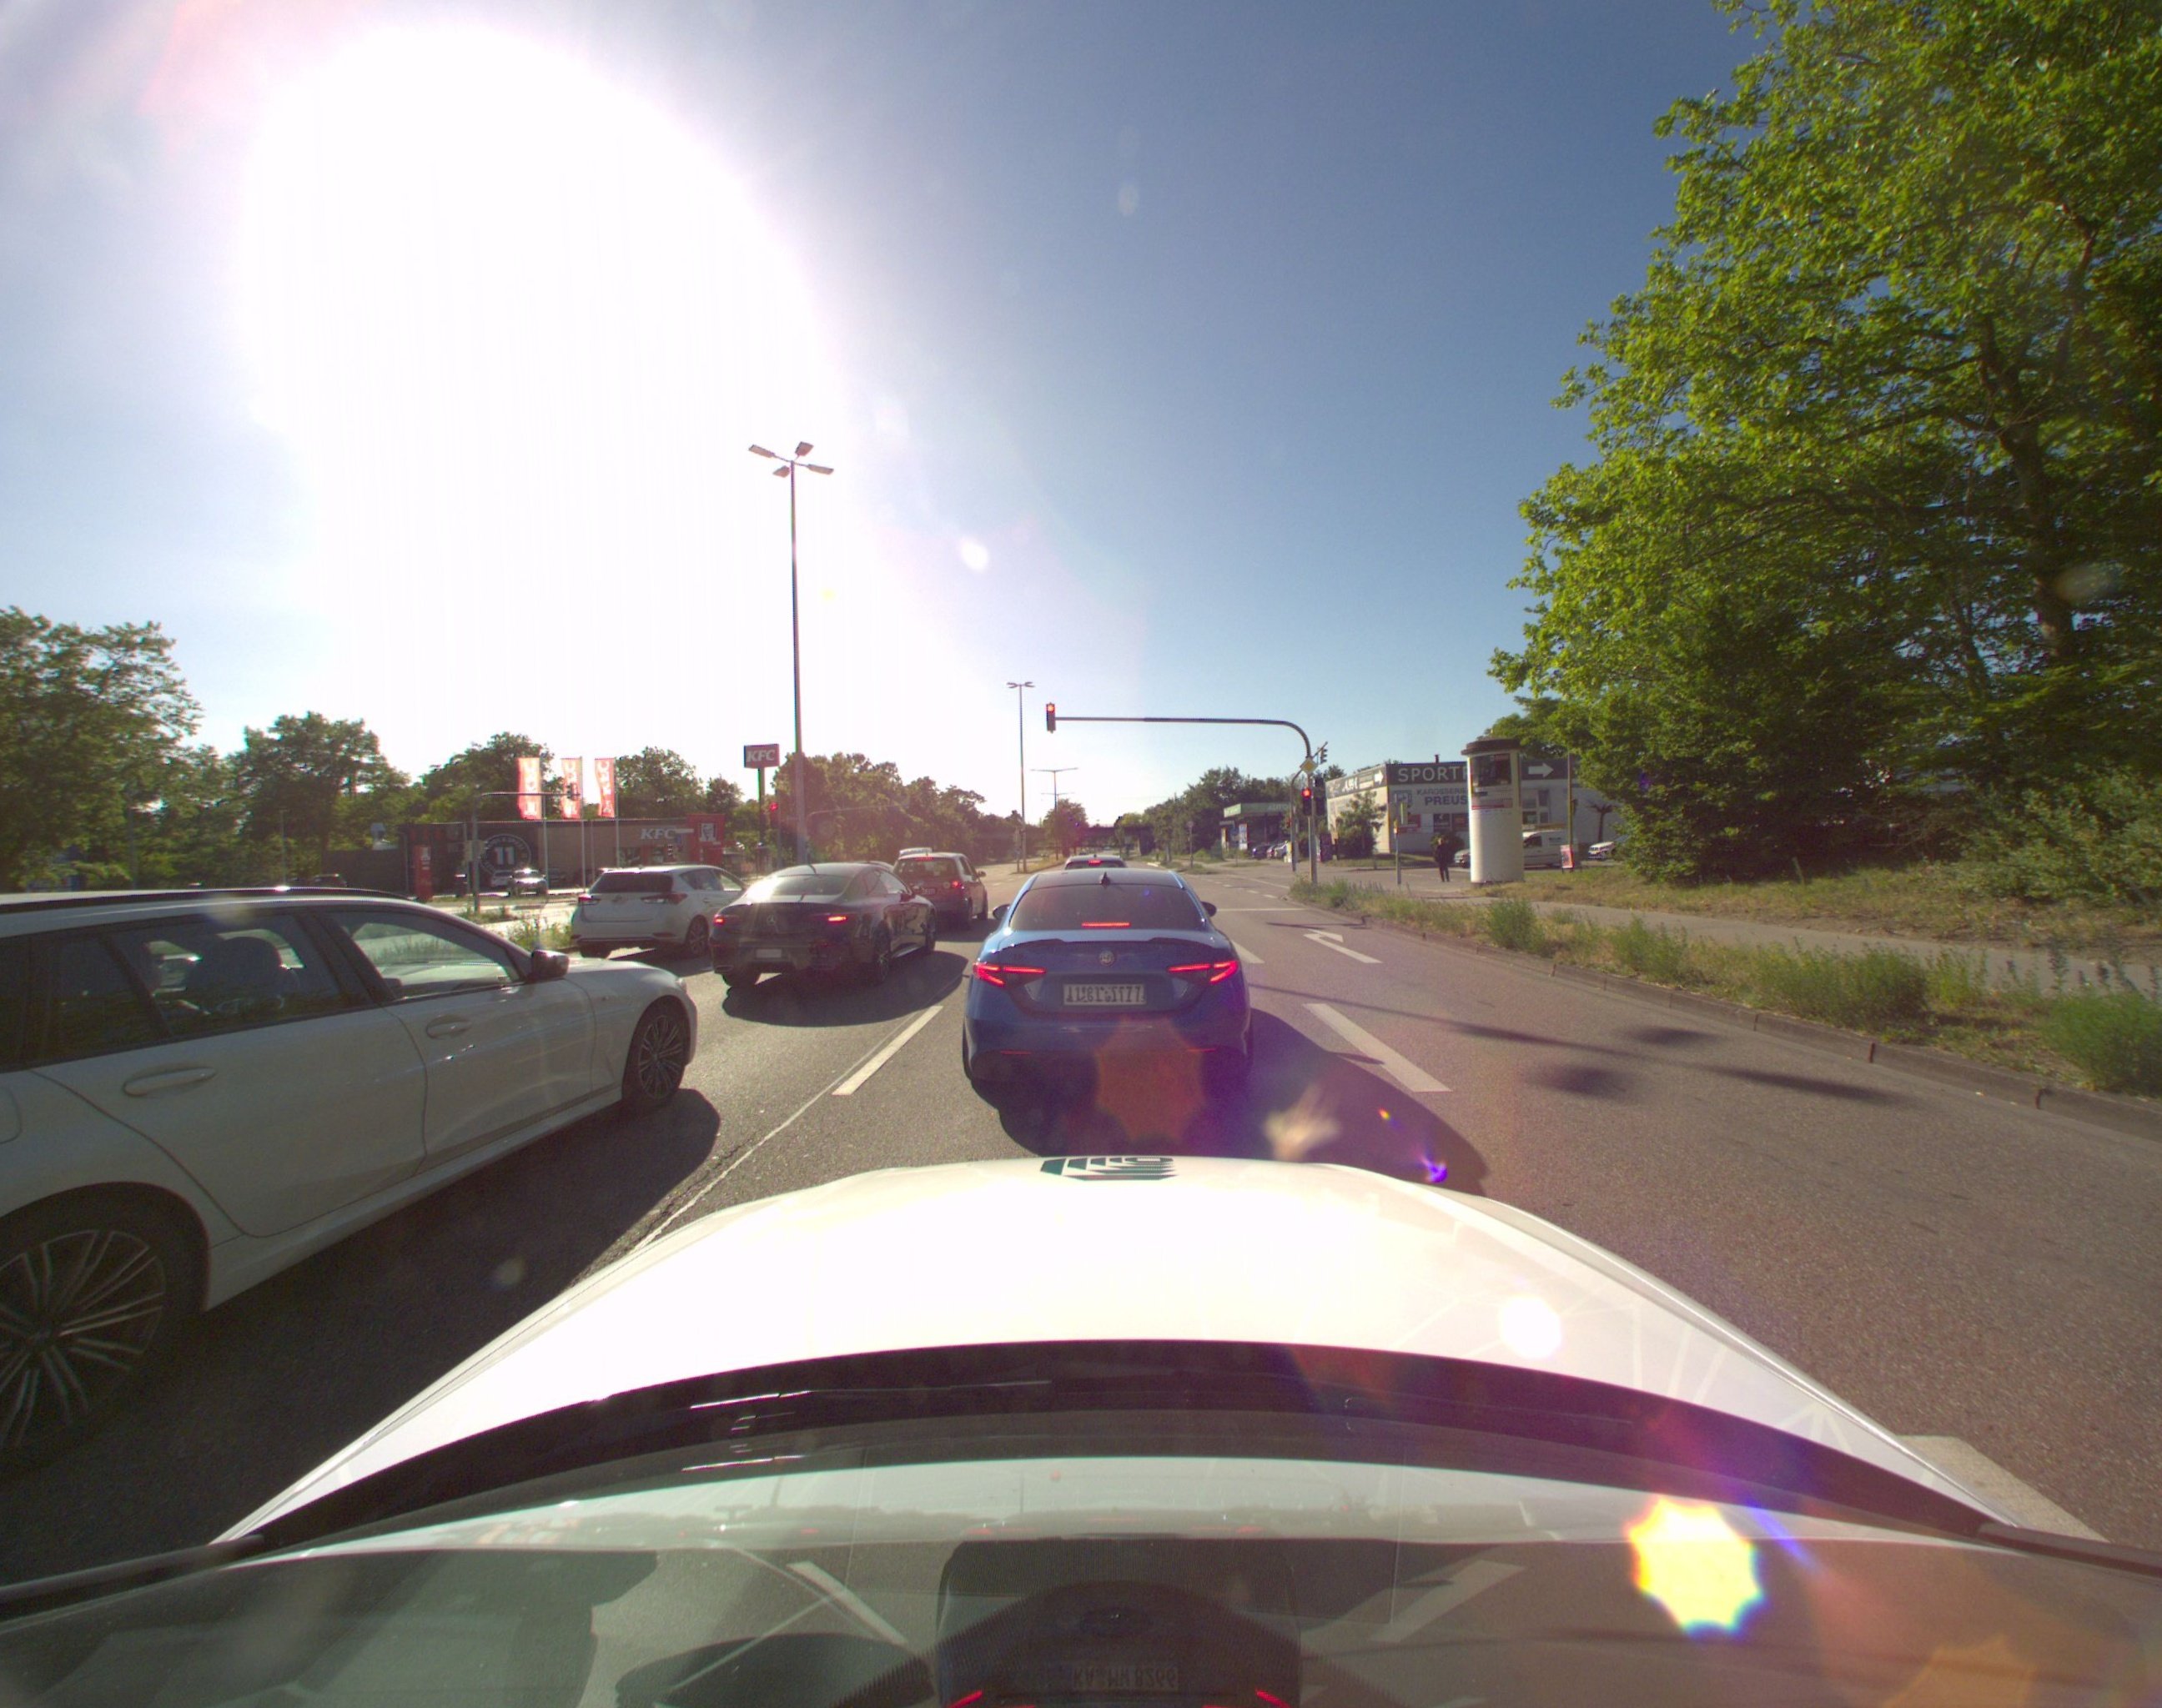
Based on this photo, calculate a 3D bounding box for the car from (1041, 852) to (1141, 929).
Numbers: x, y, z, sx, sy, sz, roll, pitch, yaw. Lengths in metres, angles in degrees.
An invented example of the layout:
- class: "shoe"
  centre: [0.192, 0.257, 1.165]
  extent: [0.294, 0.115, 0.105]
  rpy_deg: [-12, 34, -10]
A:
- class: "car"
  centre: [0.215, 0.699, 17.358]
  extent: [1.844, 1.418, 4.403]
  rpy_deg: [0, -1, 1]

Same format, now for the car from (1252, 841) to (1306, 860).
- class: "car"
  centre: [17.940, -0.337, 73.907]
  extent: [4.470, 1.454, 1.860]
  rpy_deg: [-4, 0, 3]

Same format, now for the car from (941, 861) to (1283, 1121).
- class: "car"
  centre: [0.205, 0.776, 6.715]
  extent: [1.889, 1.418, 4.403]
  rpy_deg: [0, -1, 1]

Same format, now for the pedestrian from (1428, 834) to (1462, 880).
- class: "pedestrian"
  centre: [14.150, 0.123, 31.690]
  extent: [0.922, 1.735, 0.939]
  rpy_deg: [0, -1, 1]

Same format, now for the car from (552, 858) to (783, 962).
- class: "car"
  centre: [-6.764, 0.823, 13.906]
  extent: [1.753, 1.490, 4.197]
  rpy_deg: [0, -1, 1]

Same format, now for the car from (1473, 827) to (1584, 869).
- class: "car"
  centre: [21.579, -0.309, 39.380]
  extent: [4.367, 1.801, 1.765]
  rpy_deg: [-3, 1, 0]

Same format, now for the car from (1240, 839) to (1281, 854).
- class: "car"
  centre: [21.382, -0.861, 97.016]
  extent: [4.532, 1.490, 1.766]
  rpy_deg: [-4, 0, 3]

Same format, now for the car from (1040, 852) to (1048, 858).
- class: "car"
  centre: [-9.861, 0.254, 218.296]
  extent: [1.752, 1.490, 4.480]
  rpy_deg: [-3, 0, 2]

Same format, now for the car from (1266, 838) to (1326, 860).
- class: "car"
  centre: [17.704, -0.395, 67.104]
  extent: [4.470, 1.454, 1.860]
  rpy_deg: [-4, 0, 3]

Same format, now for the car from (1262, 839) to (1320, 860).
- class: "car"
  centre: [17.981, -0.366, 69.853]
  extent: [4.470, 1.454, 1.860]
  rpy_deg: [-4, 0, 3]

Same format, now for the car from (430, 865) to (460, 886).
- class: "car"
  centre: [-47.643, 1.570, 60.988]
  extent: [1.670, 1.471, 3.872]
  rpy_deg: [0, -1, -40]

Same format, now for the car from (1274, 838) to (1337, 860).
- class: "car"
  centre: [17.698, -0.409, 64.323]
  extent: [4.470, 1.454, 1.860]
  rpy_deg: [-4, 0, 3]

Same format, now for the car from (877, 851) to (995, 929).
- class: "car"
  centre: [-3.028, 0.720, 17.913]
  extent: [1.753, 1.490, 4.403]
  rpy_deg: [0, -1, 1]

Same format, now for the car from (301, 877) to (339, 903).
- class: "car"
  centre: [-52.376, 2.469, 56.093]
  extent: [1.670, 1.673, 3.897]
  rpy_deg: [0, -1, -40]

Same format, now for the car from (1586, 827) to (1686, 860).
- class: "car"
  centre: [29.087, -0.529, 42.764]
  extent: [4.028, 1.490, 1.782]
  rpy_deg: [-3, 0, -1]

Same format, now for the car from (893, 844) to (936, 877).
- class: "car"
  centre: [-13.669, 0.543, 67.222]
  extent: [2.015, 2.447, 5.823]
  rpy_deg: [-5, 0, 1]

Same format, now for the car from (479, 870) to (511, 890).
- class: "car"
  centre: [-45.643, 2.032, 63.404]
  extent: [1.670, 1.471, 3.872]
  rpy_deg: [0, -1, -40]

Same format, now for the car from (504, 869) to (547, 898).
- class: "car"
  centre: [-37.341, 1.945, 54.860]
  extent: [2.005, 1.765, 4.315]
  rpy_deg: [0, -1, -29]

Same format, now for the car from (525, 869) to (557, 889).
- class: "car"
  centre: [-43.151, 1.964, 65.058]
  extent: [1.670, 1.471, 3.872]
  rpy_deg: [0, -1, -40]

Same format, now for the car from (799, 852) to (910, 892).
- class: "car"
  centre: [-10.180, 0.791, 36.725]
  extent: [4.392, 1.490, 1.766]
  rpy_deg: [-4, 0, 3]

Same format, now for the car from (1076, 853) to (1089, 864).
- class: "car"
  centre: [0.271, 0.760, 133.060]
  extent: [1.884, 1.816, 4.001]
  rpy_deg: [0, -1, 2]

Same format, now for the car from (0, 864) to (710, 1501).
- class: "car"
  centre: [-3.429, 0.802, 3.305]
  extent: [1.779, 1.490, 4.403]
  rpy_deg: [0, -1, 1]

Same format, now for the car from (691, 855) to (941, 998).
- class: "car"
  centre: [-3.173, 0.784, 10.810]
  extent: [1.790, 1.490, 4.476]
  rpy_deg: [0, -1, 1]

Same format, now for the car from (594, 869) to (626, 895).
- class: "car"
  centre: [-33.672, 1.940, 58.339]
  extent: [1.920, 1.752, 4.315]
  rpy_deg: [0, -1, -29]

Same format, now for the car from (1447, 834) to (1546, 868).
- class: "car"
  centre: [21.763, -0.186, 42.714]
  extent: [4.273, 1.549, 1.765]
  rpy_deg: [-3, 1, 0]
